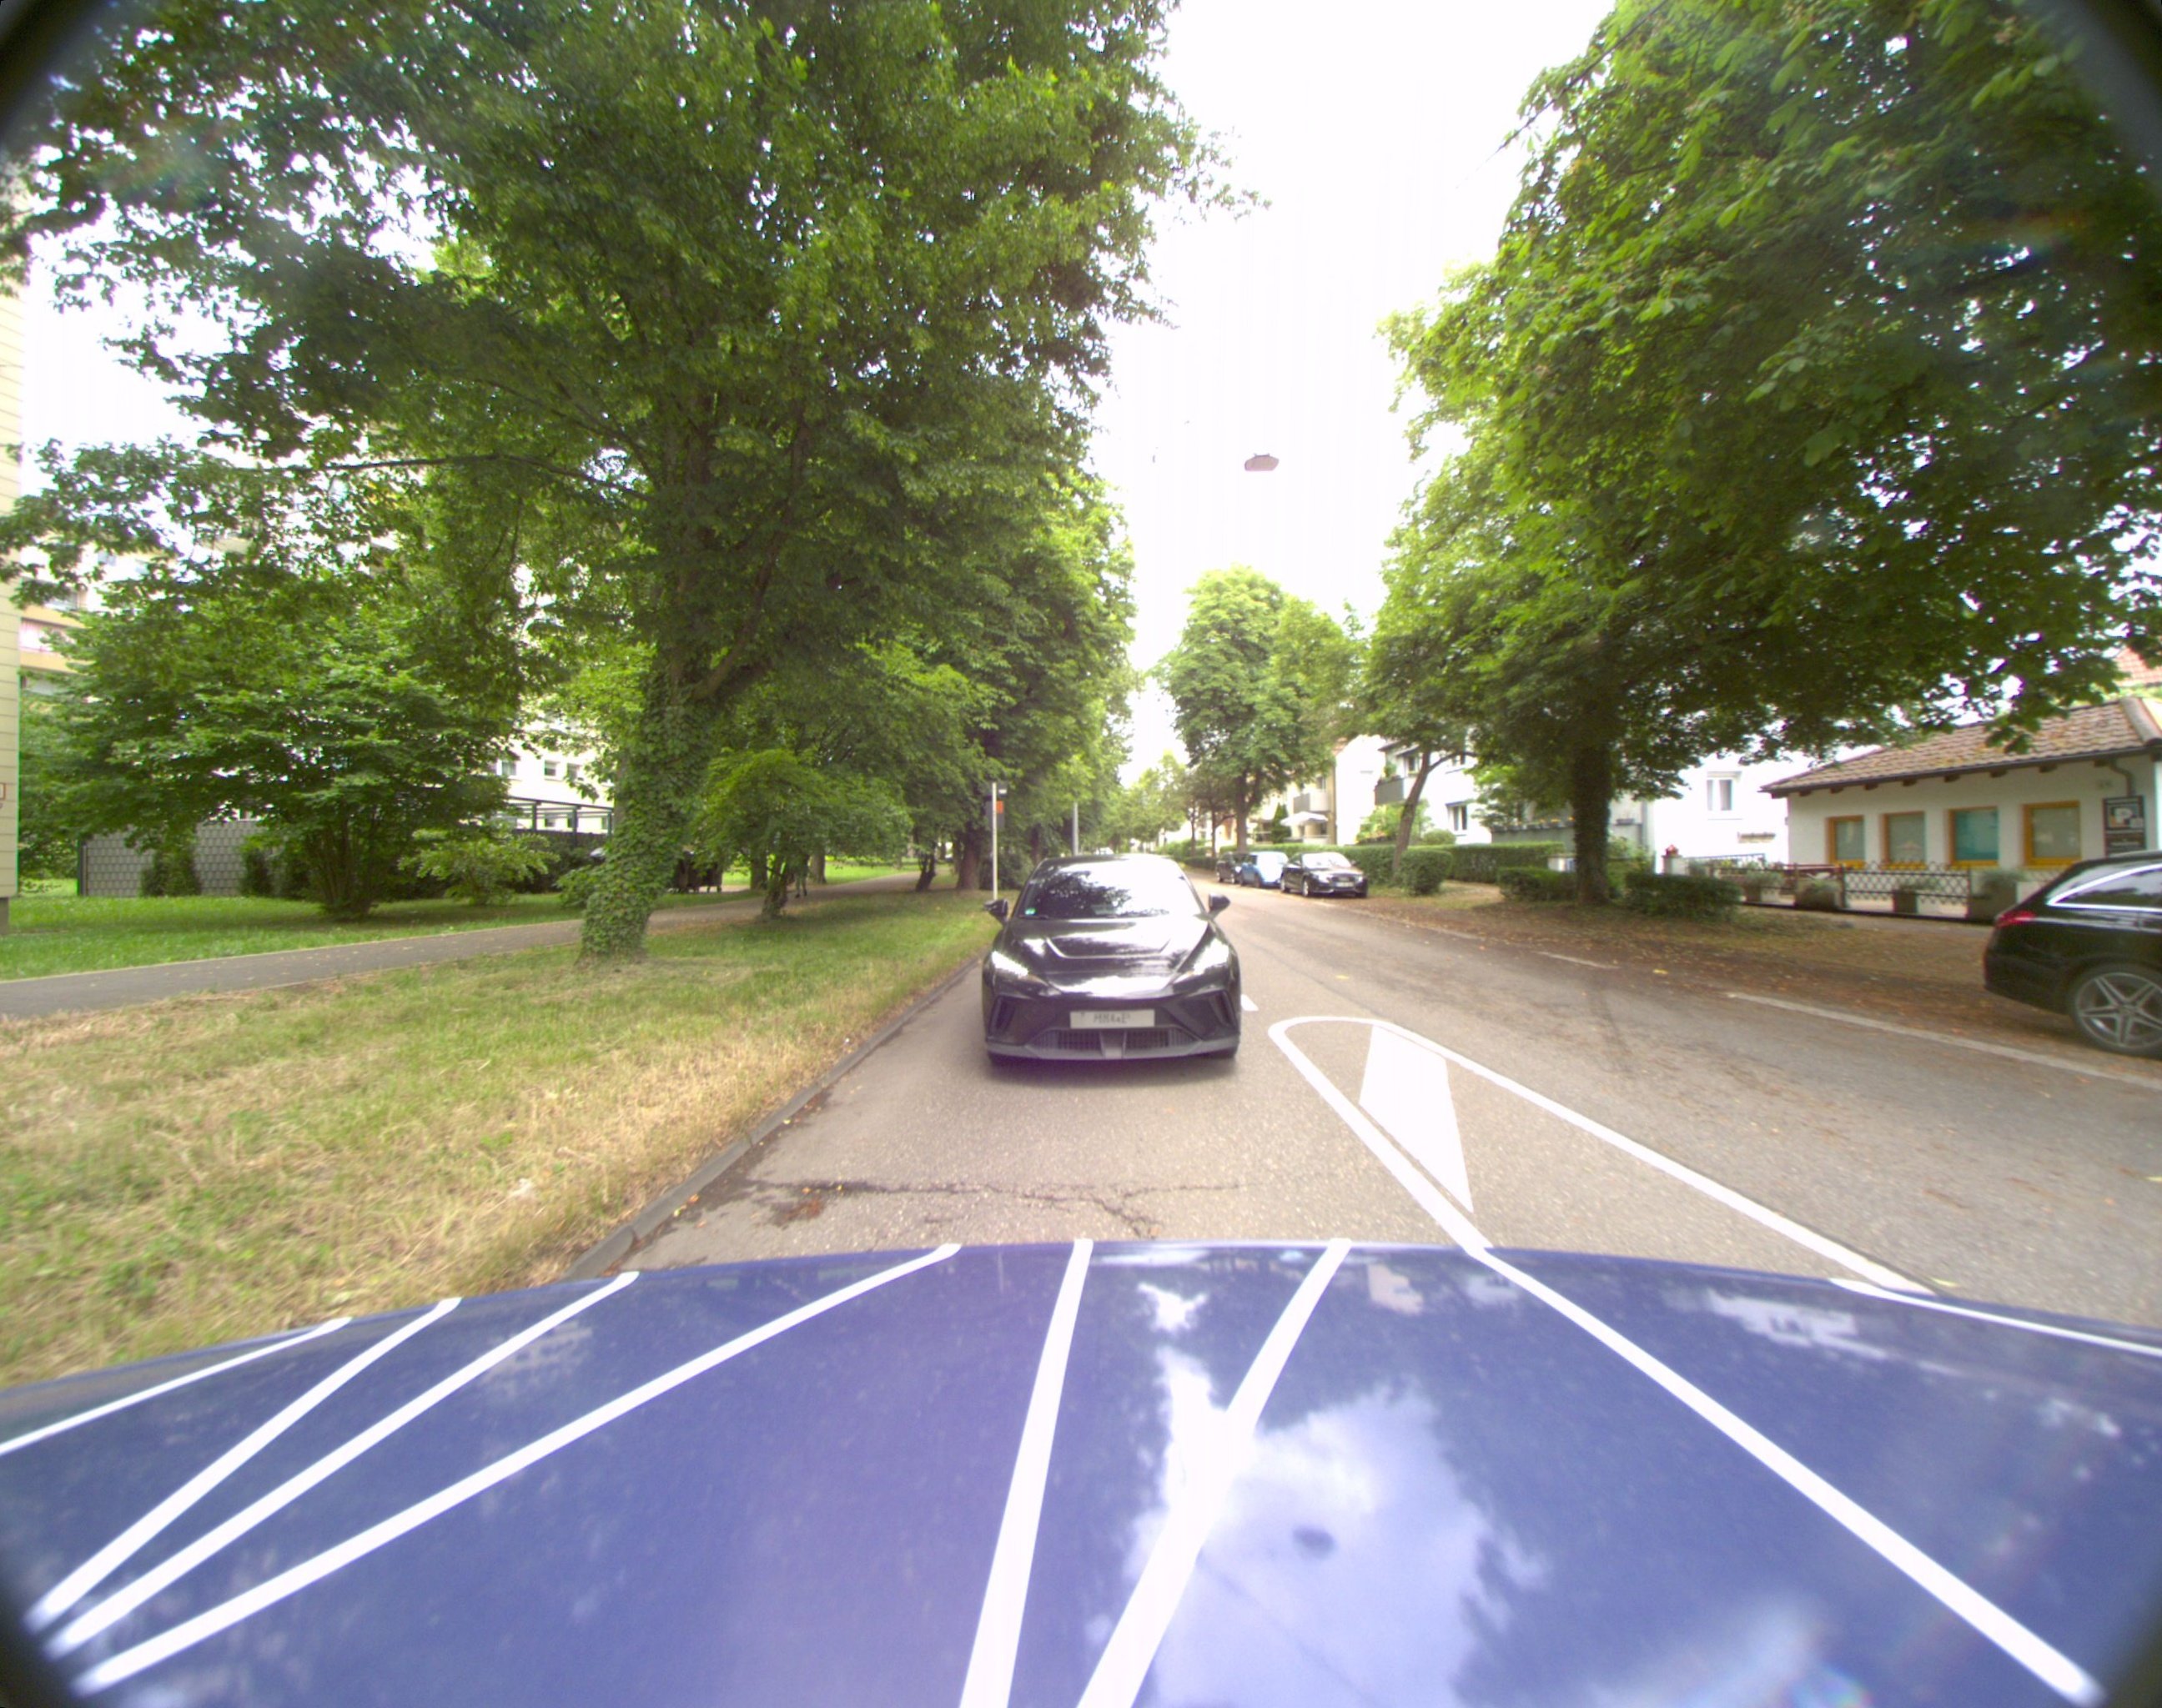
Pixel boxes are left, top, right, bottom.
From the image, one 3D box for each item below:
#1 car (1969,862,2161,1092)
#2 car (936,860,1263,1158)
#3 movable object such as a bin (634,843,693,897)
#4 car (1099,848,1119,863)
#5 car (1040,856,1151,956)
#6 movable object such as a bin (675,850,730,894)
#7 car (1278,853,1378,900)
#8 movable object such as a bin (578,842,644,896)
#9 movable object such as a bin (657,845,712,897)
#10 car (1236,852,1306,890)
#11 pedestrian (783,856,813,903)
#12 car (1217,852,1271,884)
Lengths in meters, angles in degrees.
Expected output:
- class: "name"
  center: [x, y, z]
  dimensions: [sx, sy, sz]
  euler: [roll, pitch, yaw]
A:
- class: "car"
  center: [7.771, 0.813, 3.602]
  dimensions: [1.749, 1.442, 4.593]
  euler: [0, 1, 0]
- class: "car"
  center: [0.246, 0.887, 6.389]
  dimensions: [1.803, 1.542, 4.299]
  euler: [-1, 1, 4]
- class: "movable object such as a bin"
  center: [-13.033, 0.482, 23.749]
  dimensions: [1.278, 1.633, 1.020]
  euler: [1, 2, -3]
- class: "car"
  center: [3.012, 0.139, 81.595]
  dimensions: [1.998, 1.586, 4.000]
  euler: [0, 0, 0]
- class: "car"
  center: [0.305, 0.862, 14.448]
  dimensions: [1.814, 1.521, 3.999]
  euler: [0, 2, 2]
- class: "movable object such as a bin"
  center: [-13.075, 0.605, 26.300]
  dimensions: [1.328, 1.466, 1.201]
  euler: [1, 2, -3]
- class: "car"
  center: [7.706, 0.653, 24.214]
  dimensions: [1.852, 1.368, 4.594]
  euler: [0, 0, 2]
- class: "movable object such as a bin"
  center: [-14.627, 0.451, 23.687]
  dimensions: [1.435, 1.633, 1.020]
  euler: [1, 2, -3]
- class: "movable object such as a bin"
  center: [-13.072, 0.539, 25.083]
  dimensions: [1.240, 1.633, 1.075]
  euler: [1, 2, -3]
- class: "car"
  center: [7.400, 0.639, 29.989]
  dimensions: [1.637, 1.368, 4.151]
  euler: [0, 0, -1]
- class: "pedestrian"
  center: [-8.319, 0.741, 22.372]
  dimensions: [0.689, 1.373, 0.605]
  euler: [-1, 1, -7]
- class: "car"
  center: [7.270, 0.610, 34.138]
  dimensions: [1.540, 1.368, 3.771]
  euler: [0, 0, -1]
